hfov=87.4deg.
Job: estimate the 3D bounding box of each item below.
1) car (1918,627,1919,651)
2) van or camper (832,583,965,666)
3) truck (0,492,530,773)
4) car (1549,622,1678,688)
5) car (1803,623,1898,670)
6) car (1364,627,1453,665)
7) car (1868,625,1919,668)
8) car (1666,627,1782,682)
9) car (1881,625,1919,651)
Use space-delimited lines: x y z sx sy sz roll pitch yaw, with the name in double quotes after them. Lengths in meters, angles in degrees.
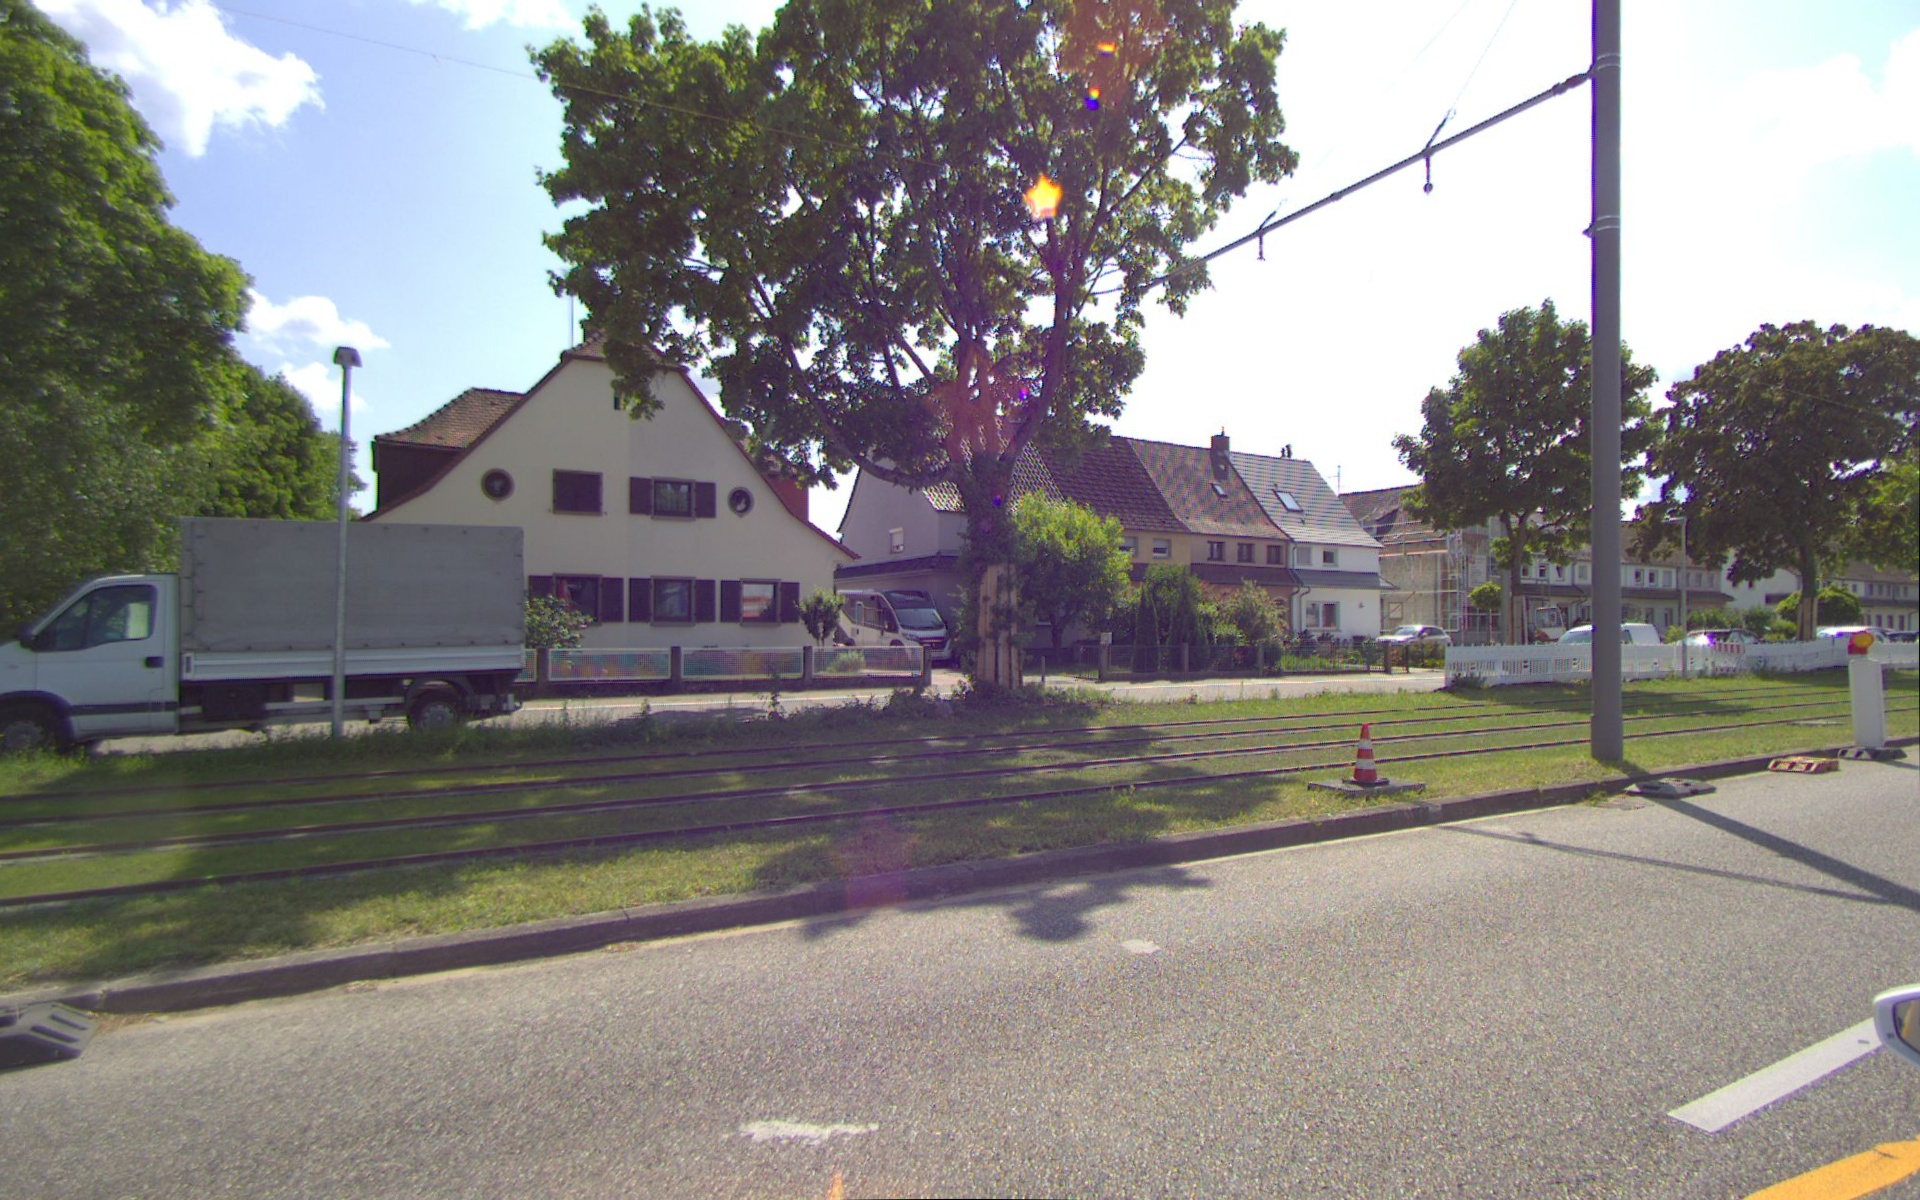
72.131 2.847 73.668 4.013 1.762 1.691 1 -2 -30 "car"
-2.354 0.908 36.650 2.224 2.745 5.963 1 -2 -33 "van or camper"
-8.801 0.414 12.934 5.805 3.027 1.994 1 -2 -30 "truck"
19.498 1.605 29.960 3.814 1.841 1.691 1 -2 -30 "car"
34.957 1.803 39.422 3.814 1.762 1.691 1 -2 -30 "car"
19.885 1.994 44.480 3.814 1.614 1.691 1 -2 -30 "car"
40.385 1.961 42.601 3.814 1.762 1.691 1 -2 -30 "car"
25.742 1.800 33.827 4.006 1.762 1.691 1 -2 -30 "car"
66.748 2.683 70.732 4.013 1.762 1.691 1 -2 -30 "car"
